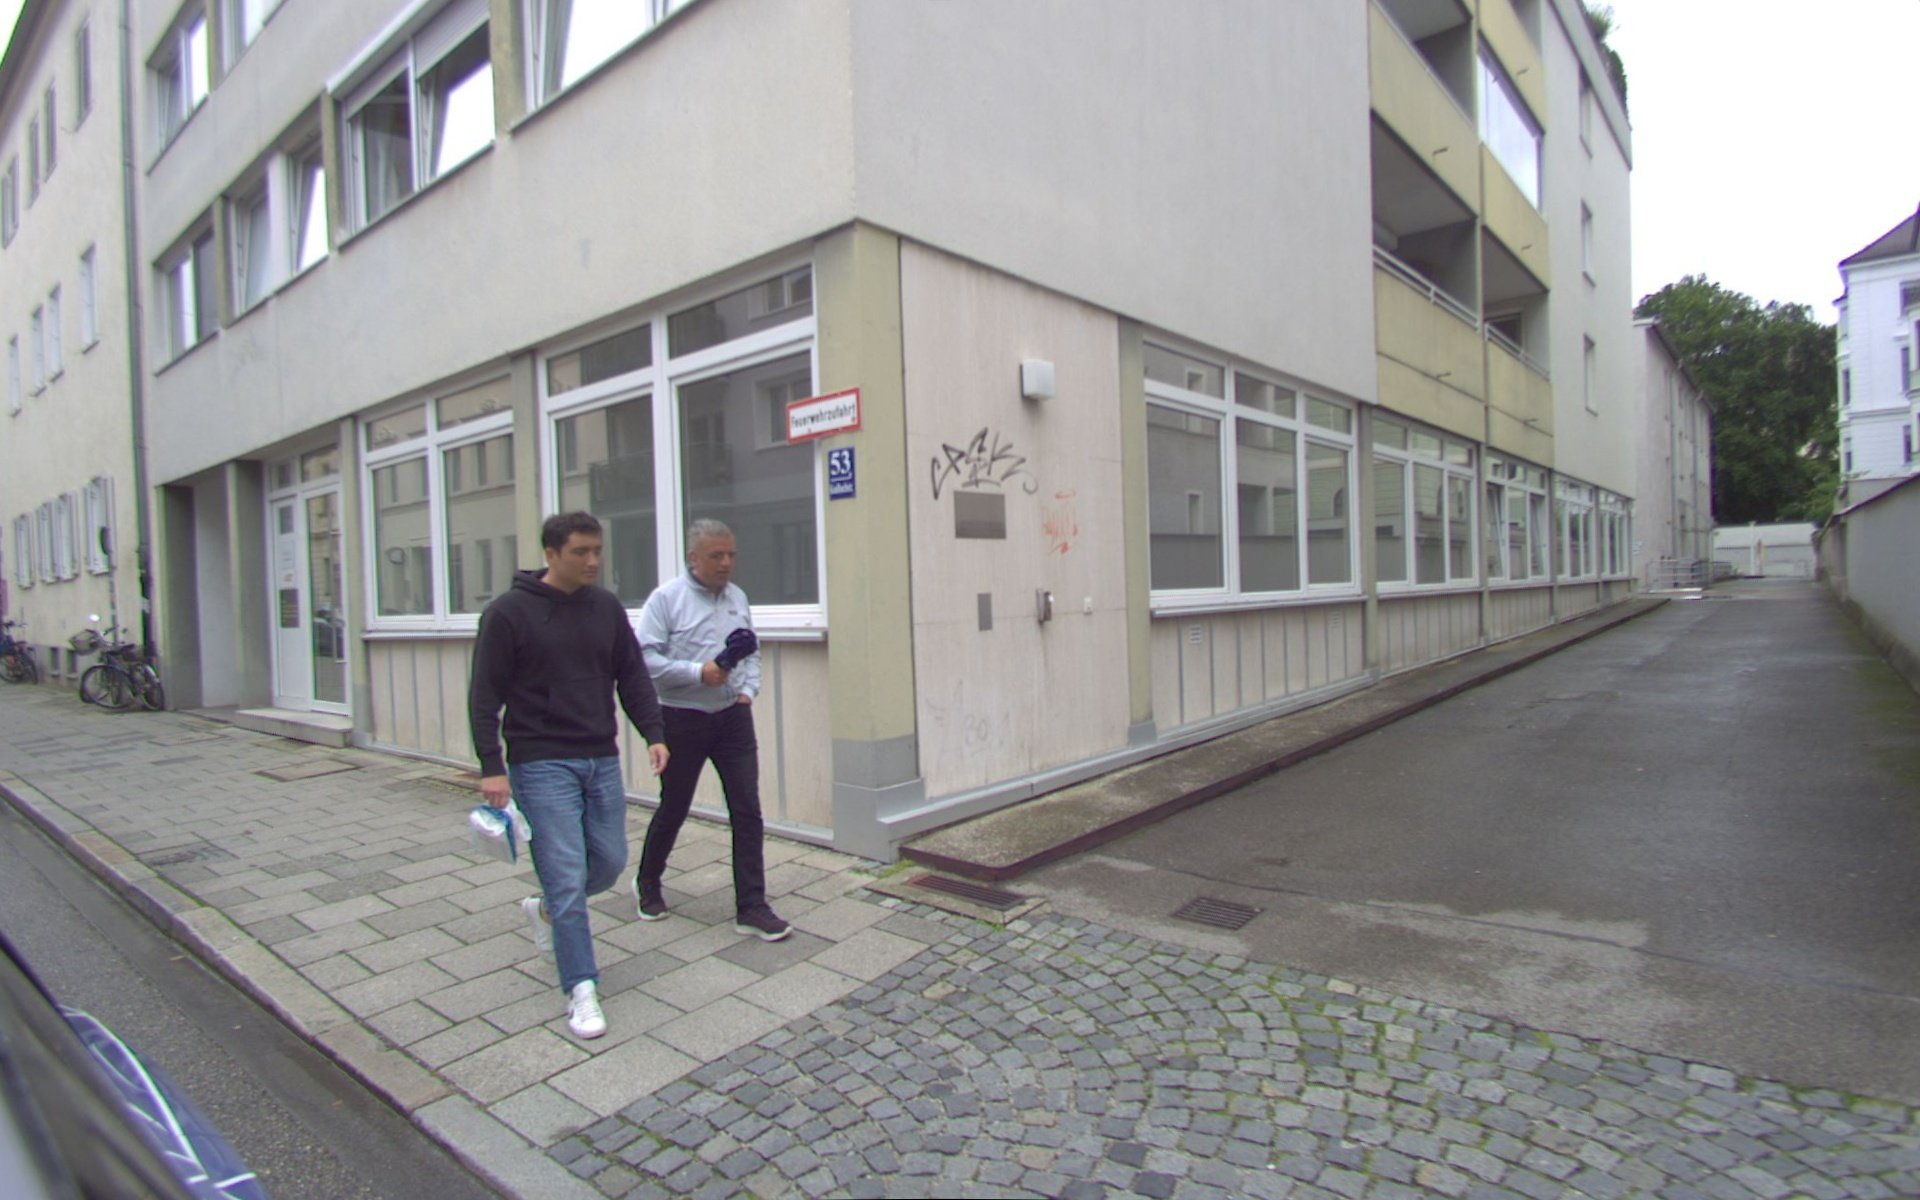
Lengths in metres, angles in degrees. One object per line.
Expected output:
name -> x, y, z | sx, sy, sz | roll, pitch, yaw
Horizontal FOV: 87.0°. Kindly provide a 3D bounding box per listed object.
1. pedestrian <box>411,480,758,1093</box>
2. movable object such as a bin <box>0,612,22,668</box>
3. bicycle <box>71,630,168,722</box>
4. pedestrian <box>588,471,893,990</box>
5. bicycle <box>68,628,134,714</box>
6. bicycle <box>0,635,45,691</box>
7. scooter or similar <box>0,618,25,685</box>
pedestrian -> -1.281, 0.530, 3.460 | 0.837, 1.778, 0.711 | -1, 2, 41
movable object such as a bin -> -26.011, 1.122, 27.093 | 1.161, 1.452, 1.249 | -9, 4, -44
bicycle -> -11.546, 1.005, 13.893 | 1.716, 1.168, 0.557 | -1, 1, 35
pedestrian -> -0.887, 0.445, 4.084 | 0.916, 1.810, 0.711 | -1, 2, 41
bicycle -> -12.798, 1.028, 15.068 | 1.604, 1.168, 0.453 | -1, 3, 41
bicycle -> -19.069, 1.242, 20.249 | 1.819, 0.991, 0.697 | -1, 5, 36
scooter or similar -> -20.242, 1.076, 21.550 | 1.238, 1.386, 0.314 | -1, 0, 40
